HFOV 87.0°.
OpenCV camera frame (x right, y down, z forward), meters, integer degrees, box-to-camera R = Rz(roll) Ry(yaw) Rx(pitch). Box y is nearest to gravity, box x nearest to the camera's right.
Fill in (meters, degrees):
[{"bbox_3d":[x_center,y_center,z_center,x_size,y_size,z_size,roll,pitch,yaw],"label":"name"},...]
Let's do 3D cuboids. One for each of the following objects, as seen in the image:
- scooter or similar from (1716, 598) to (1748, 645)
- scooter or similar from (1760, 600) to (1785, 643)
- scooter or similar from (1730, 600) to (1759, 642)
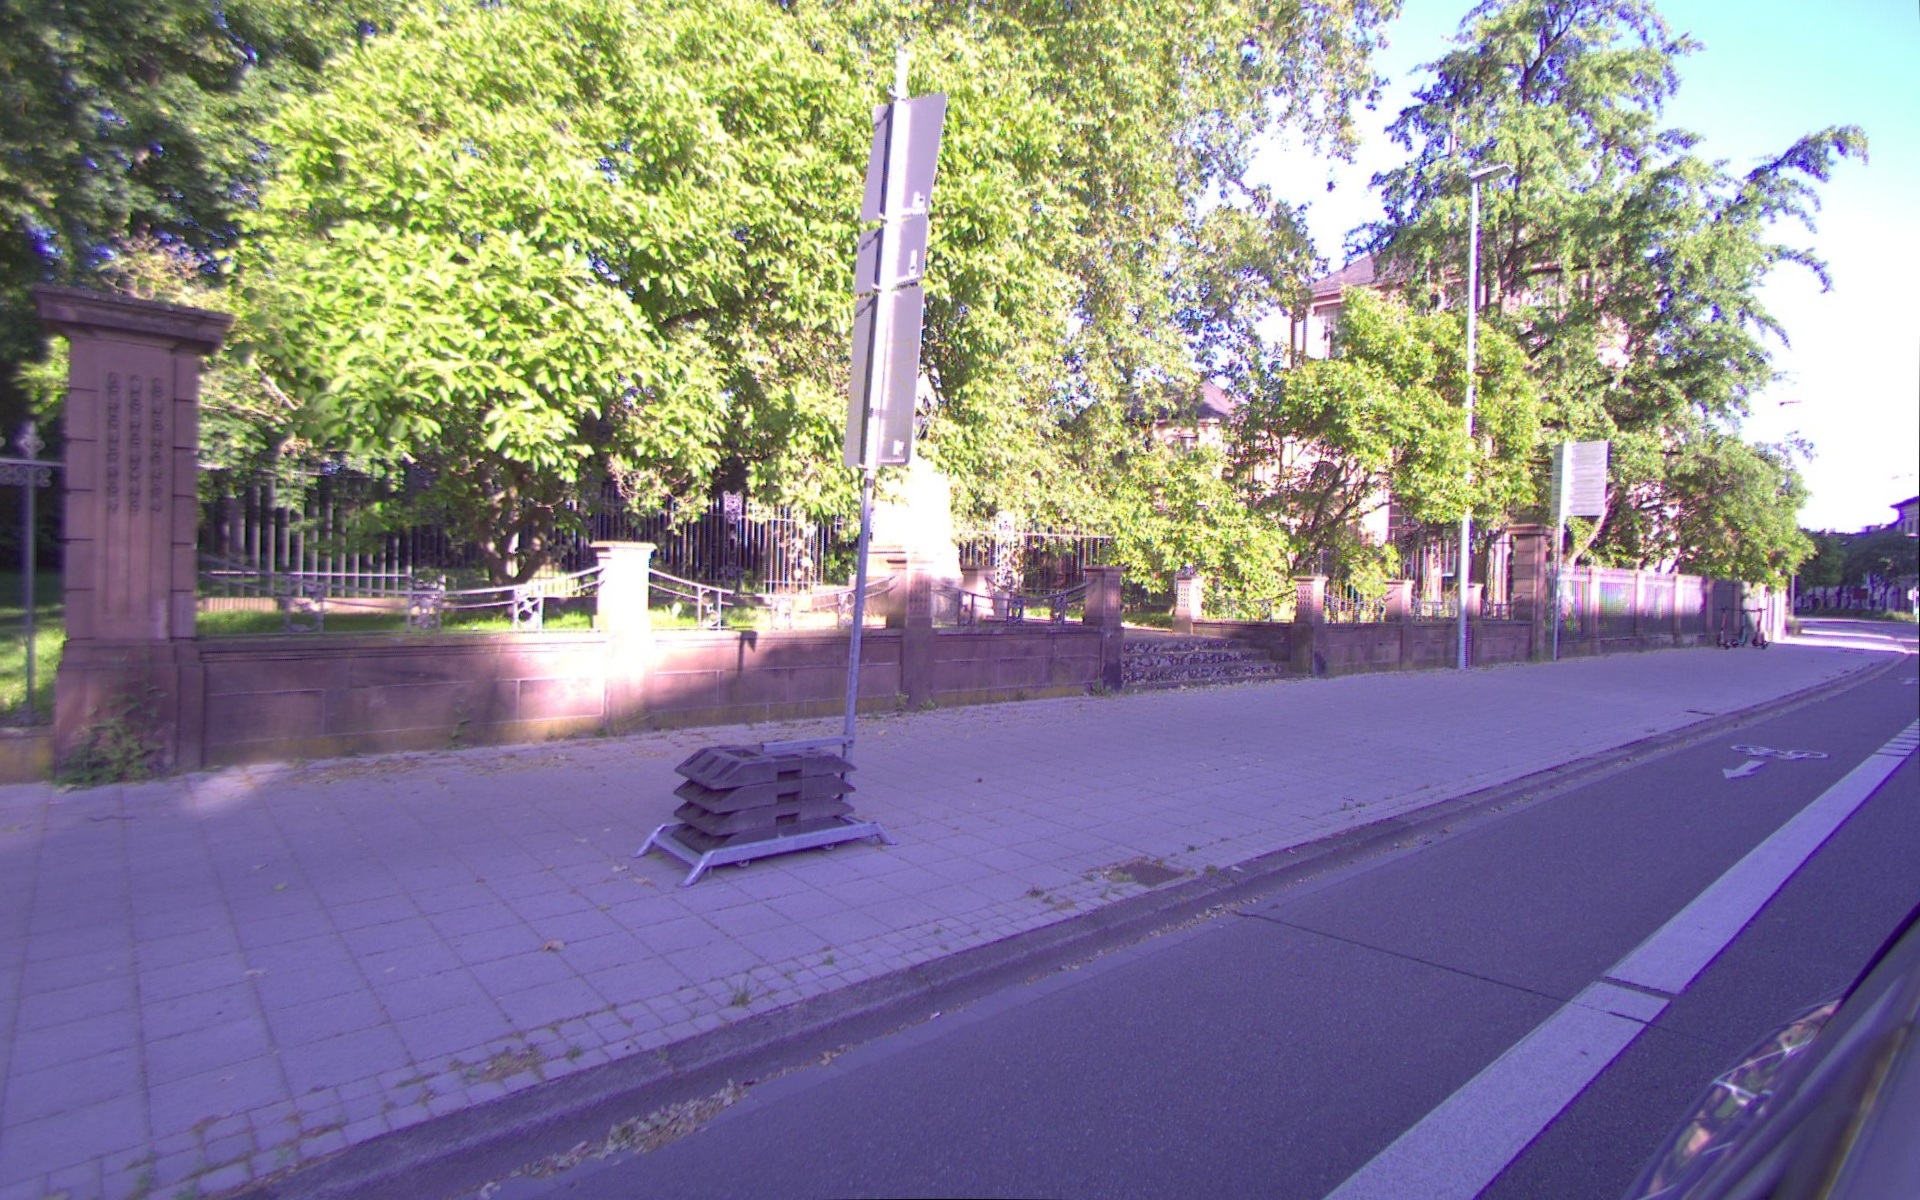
[{"bbox_3d":[22.268,0.600,29.217,0.572,1.269,1.470,2,2,33],"label":"scooter or similar"},{"bbox_3d":[24.715,0.627,30.790,0.514,1.255,1.502,2,2,37],"label":"scooter or similar"},{"bbox_3d":[23.615,0.616,30.441,0.574,1.199,1.465,3,2,41],"label":"scooter or similar"}]
